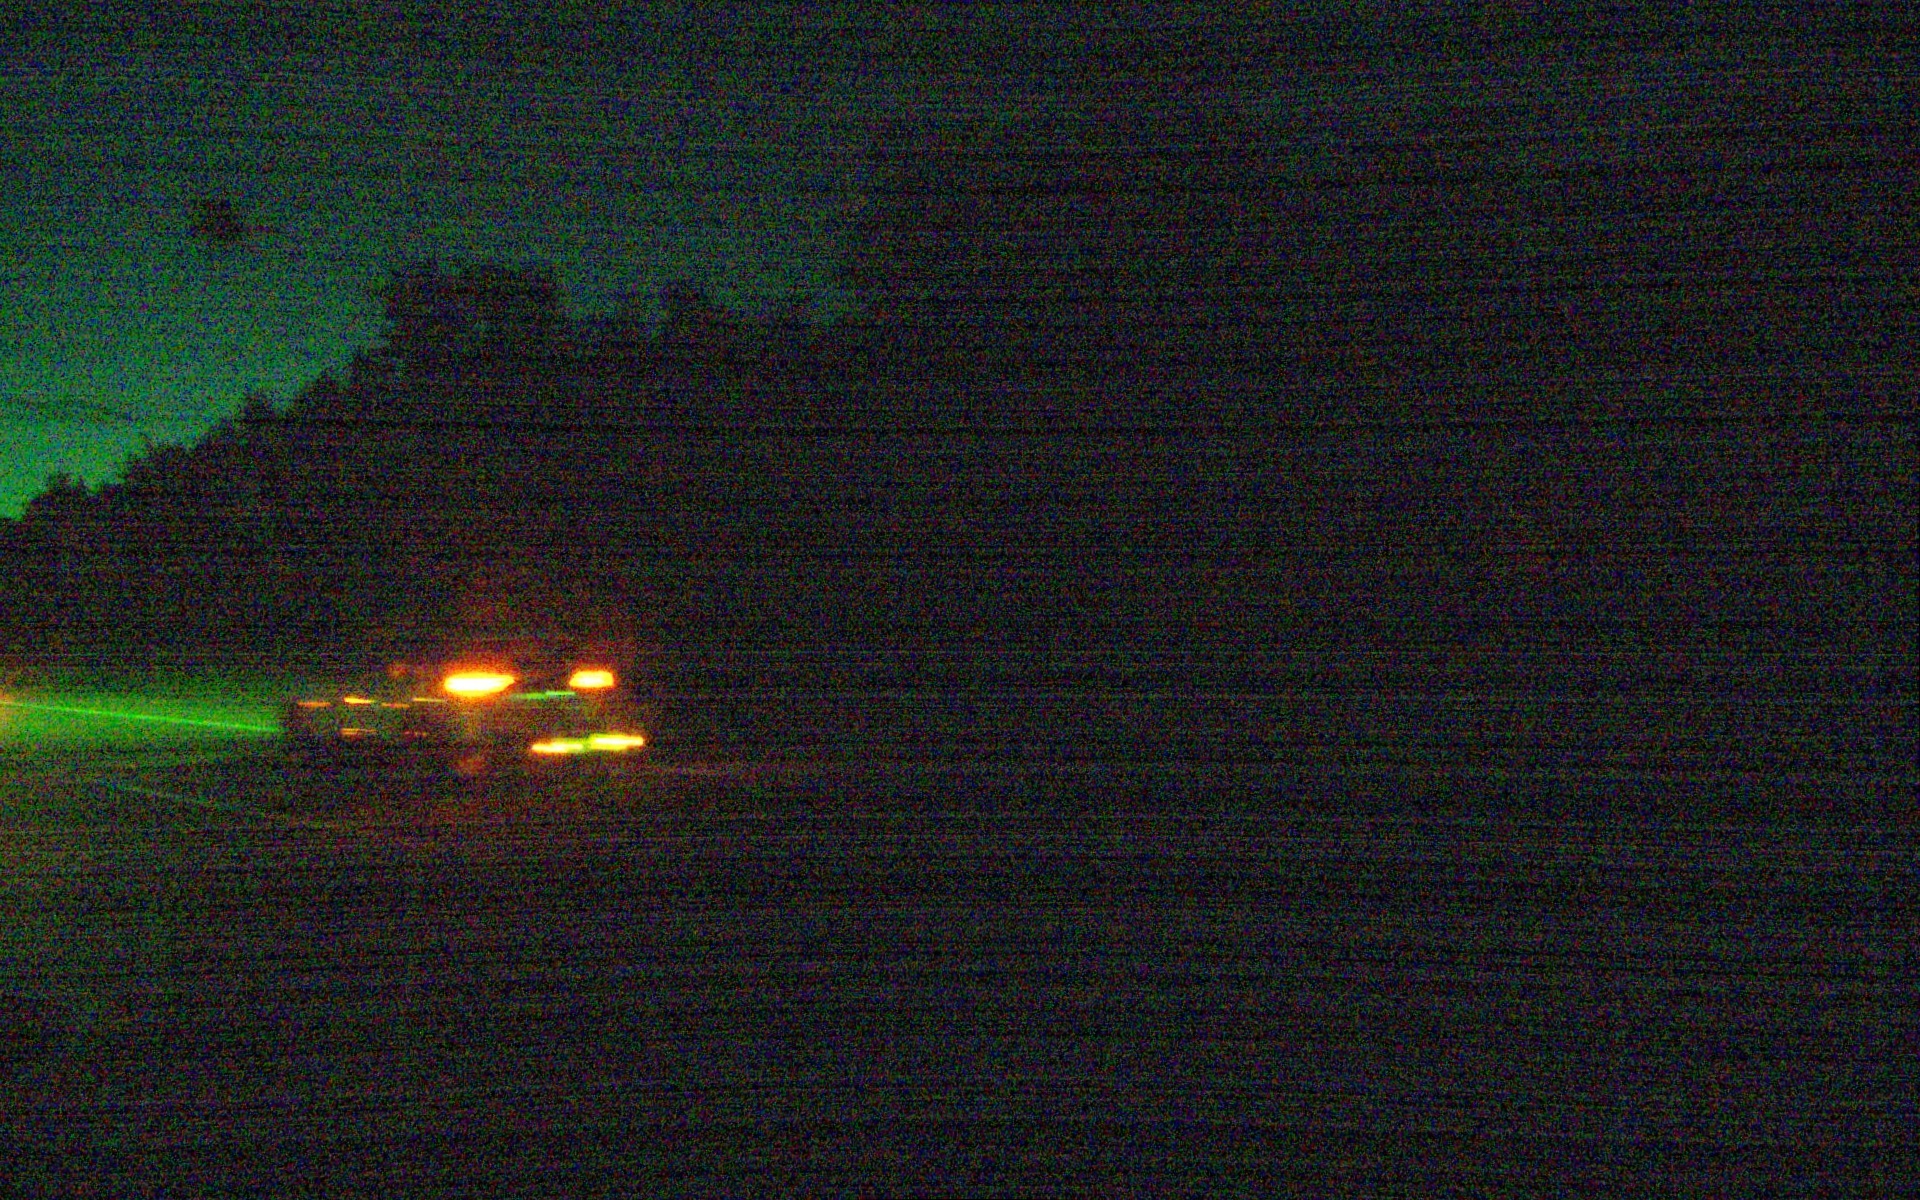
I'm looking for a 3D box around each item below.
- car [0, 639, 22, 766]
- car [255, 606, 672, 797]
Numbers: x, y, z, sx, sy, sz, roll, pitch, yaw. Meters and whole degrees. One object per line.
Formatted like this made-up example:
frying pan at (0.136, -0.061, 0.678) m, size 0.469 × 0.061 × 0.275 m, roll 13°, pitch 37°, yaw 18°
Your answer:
car at (-13.187, 1.174, 11.873) m, size 4.997 × 1.419 × 1.832 m, roll -1°, pitch -2°, yaw 32°
car at (-5.765, 1.006, 11.386) m, size 5.096 × 1.739 × 1.989 m, roll -1°, pitch -2°, yaw 34°
